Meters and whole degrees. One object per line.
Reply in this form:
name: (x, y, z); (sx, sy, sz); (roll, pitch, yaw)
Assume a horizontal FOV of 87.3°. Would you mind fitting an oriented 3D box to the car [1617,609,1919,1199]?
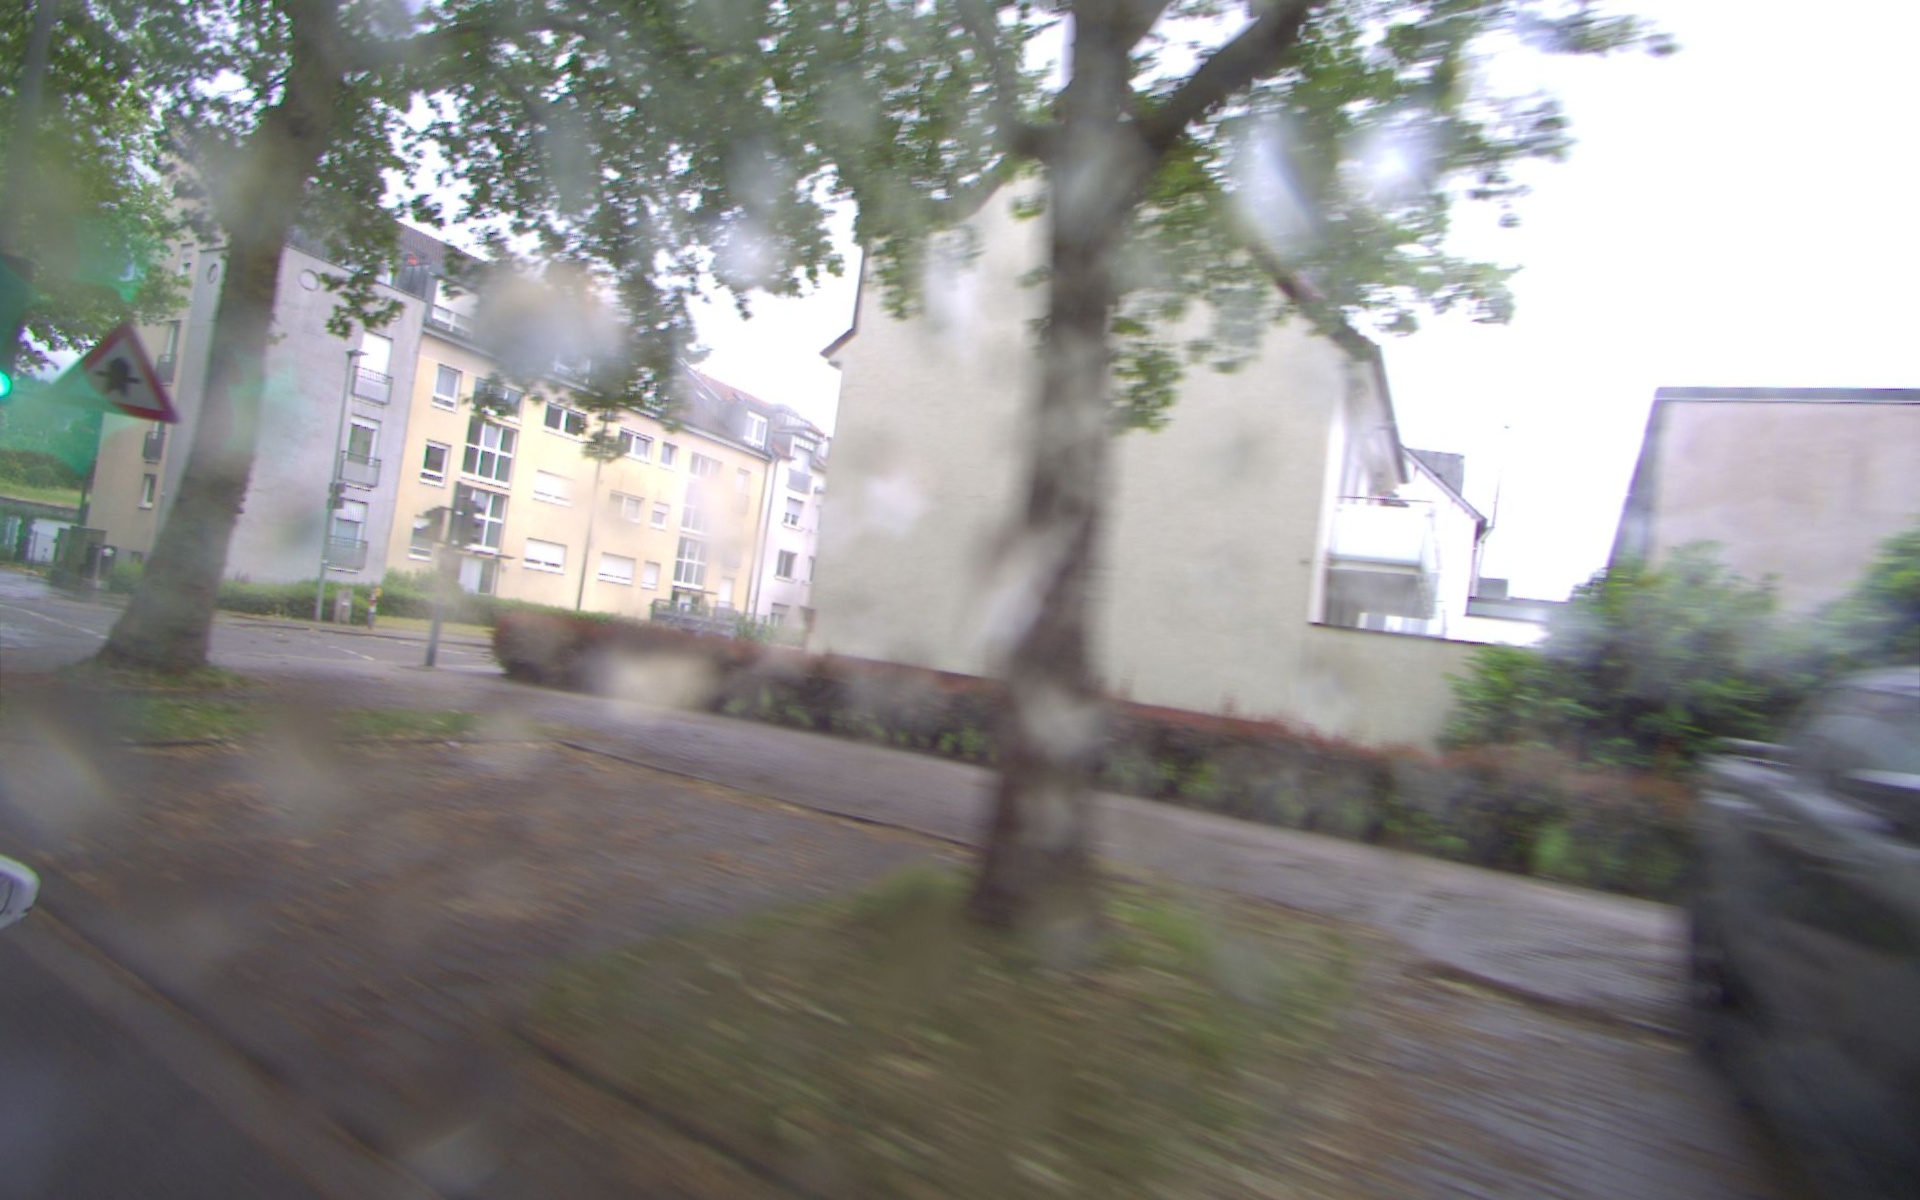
car: (3.496, 1.122, 3.002); (1.813, 1.827, 5.354); (7, -2, 27)
